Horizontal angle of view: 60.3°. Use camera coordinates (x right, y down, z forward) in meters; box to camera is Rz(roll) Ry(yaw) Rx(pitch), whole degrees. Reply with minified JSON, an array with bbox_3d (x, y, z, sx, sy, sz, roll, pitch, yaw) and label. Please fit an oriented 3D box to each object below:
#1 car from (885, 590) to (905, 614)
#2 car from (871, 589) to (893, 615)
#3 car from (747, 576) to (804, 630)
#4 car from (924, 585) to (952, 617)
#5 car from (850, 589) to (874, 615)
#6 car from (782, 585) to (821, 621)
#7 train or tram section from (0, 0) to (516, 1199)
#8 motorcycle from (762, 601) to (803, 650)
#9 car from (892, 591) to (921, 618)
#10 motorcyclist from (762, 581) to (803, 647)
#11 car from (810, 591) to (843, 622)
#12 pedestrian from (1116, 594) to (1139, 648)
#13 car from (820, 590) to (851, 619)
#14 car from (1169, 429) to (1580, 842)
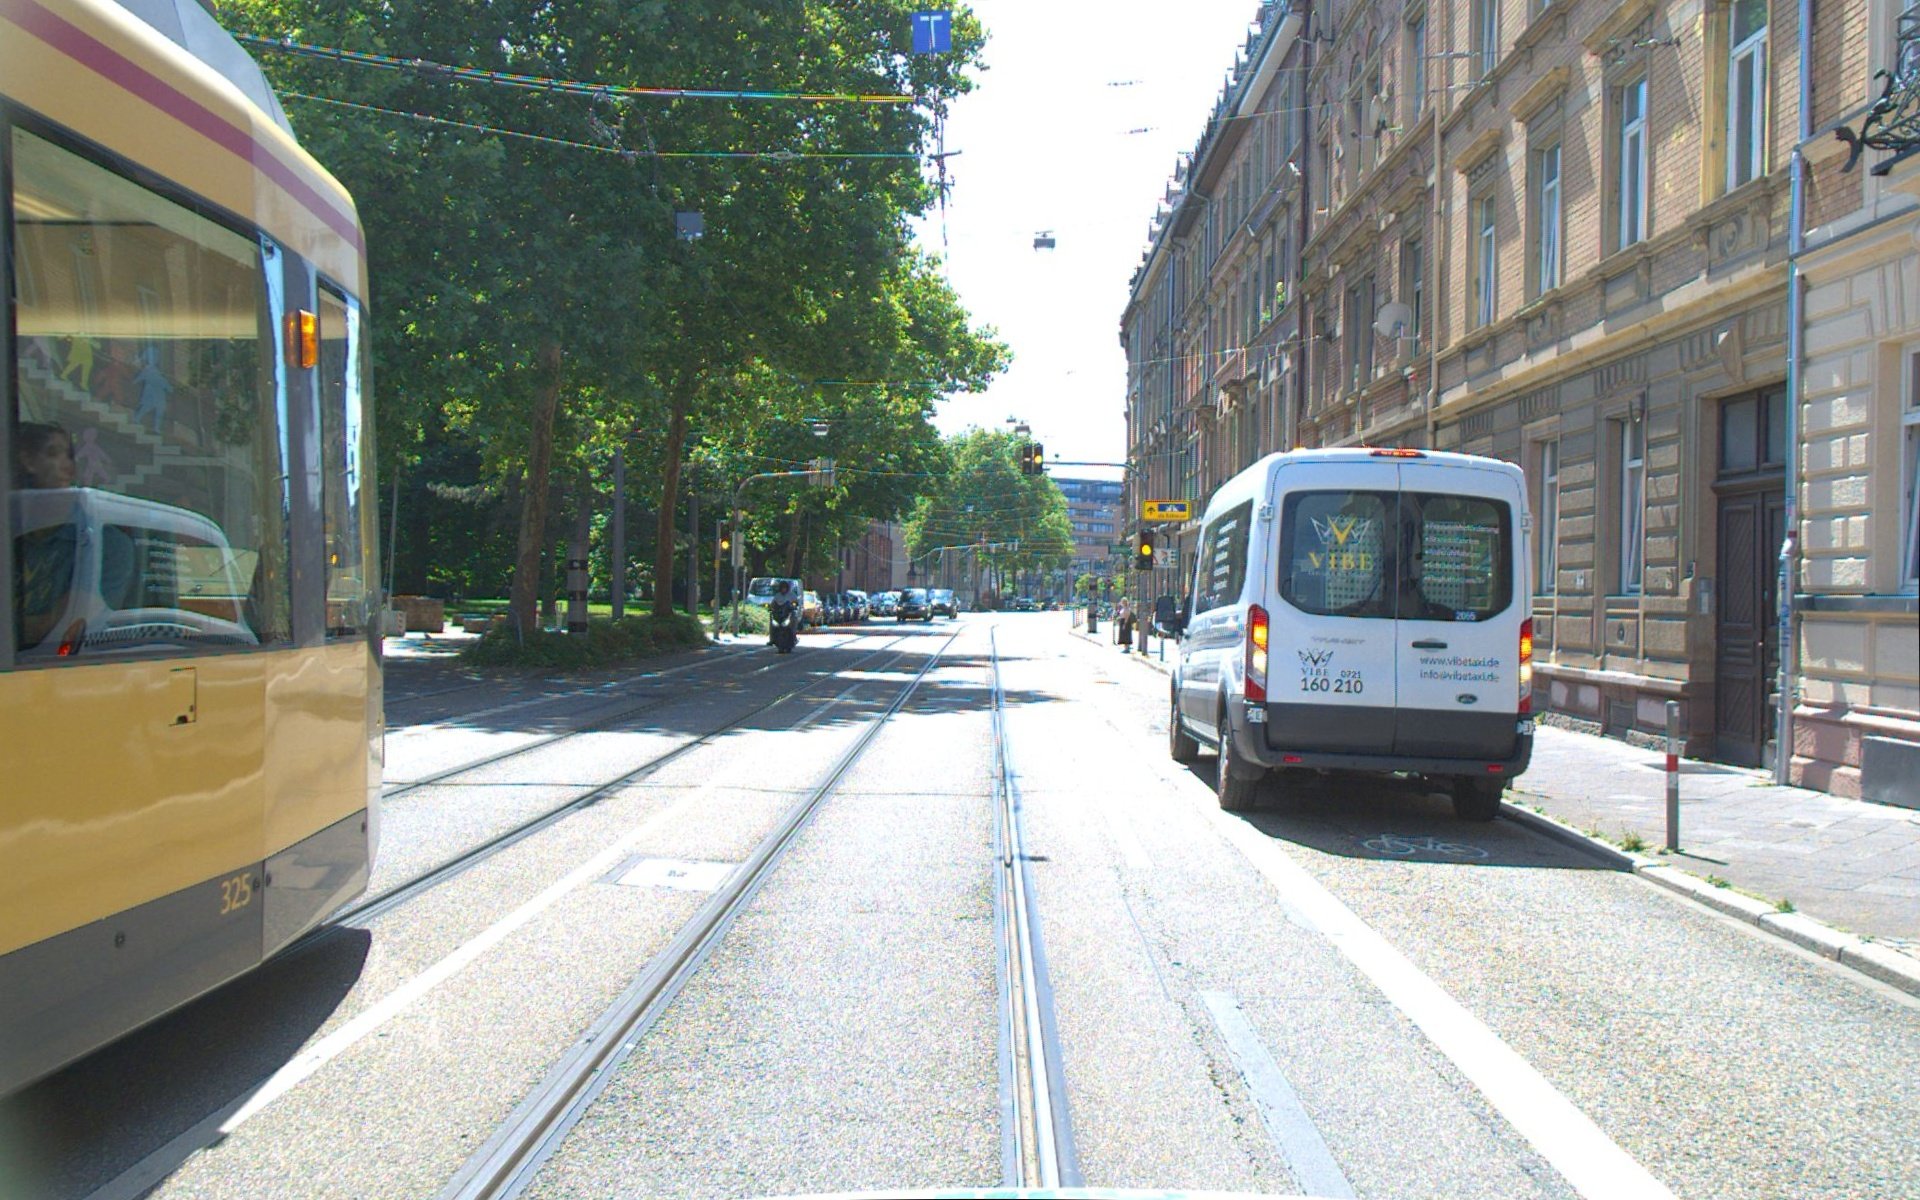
[{"bbox_3d":[-4.874,0.125,123.878,1.425,1.761,3.193,2,0,-1],"label":"car"},{"bbox_3d":[-5.590,0.127,118.773,1.425,1.761,3.193,2,0,-1],"label":"car"},{"bbox_3d":[-7.073,0.106,63.772,1.764,1.956,3.999,2,0,-1],"label":"car"},{"bbox_3d":[-1.359,0.035,101.161,1.640,1.892,3.999,2,0,-2],"label":"car"},{"bbox_3d":[-6.700,0.137,113.410,1.425,1.761,3.193,2,0,-1],"label":"car"},{"bbox_3d":[-7.052,0.135,74.003,1.425,1.522,3.662,2,0,-1],"label":"car"},{"bbox_3d":[-3.496,-0.351,0.544,2.900,3.643,13.424,1,0,1],"label":"train or tram section"},{"bbox_3d":[-4.268,0.598,39.697,0.930,1.133,1.600,2,0,-6],"label":"motorcycle"},{"bbox_3d":[-2.995,0.258,93.070,1.497,1.433,3.489,2,0,-1],"label":"car"},{"bbox_3d":[-4.316,0.335,40.240,0.922,1.559,0.500,2,0,-7],"label":"motorcyclist"},{"bbox_3d":[-6.775,0.323,84.399,1.425,1.522,3.662,2,0,-1],"label":"car"},{"bbox_3d":[4.960,0.621,49.025,0.606,1.565,0.464,2,0,-1],"label":"pedestrian"},{"bbox_3d":[-6.777,0.232,90.323,1.425,1.522,3.662,2,0,-1],"label":"car"},{"bbox_3d":[2.966,0.210,13.210,2.024,2.544,5.455,2,0,2],"label":"car"}]
